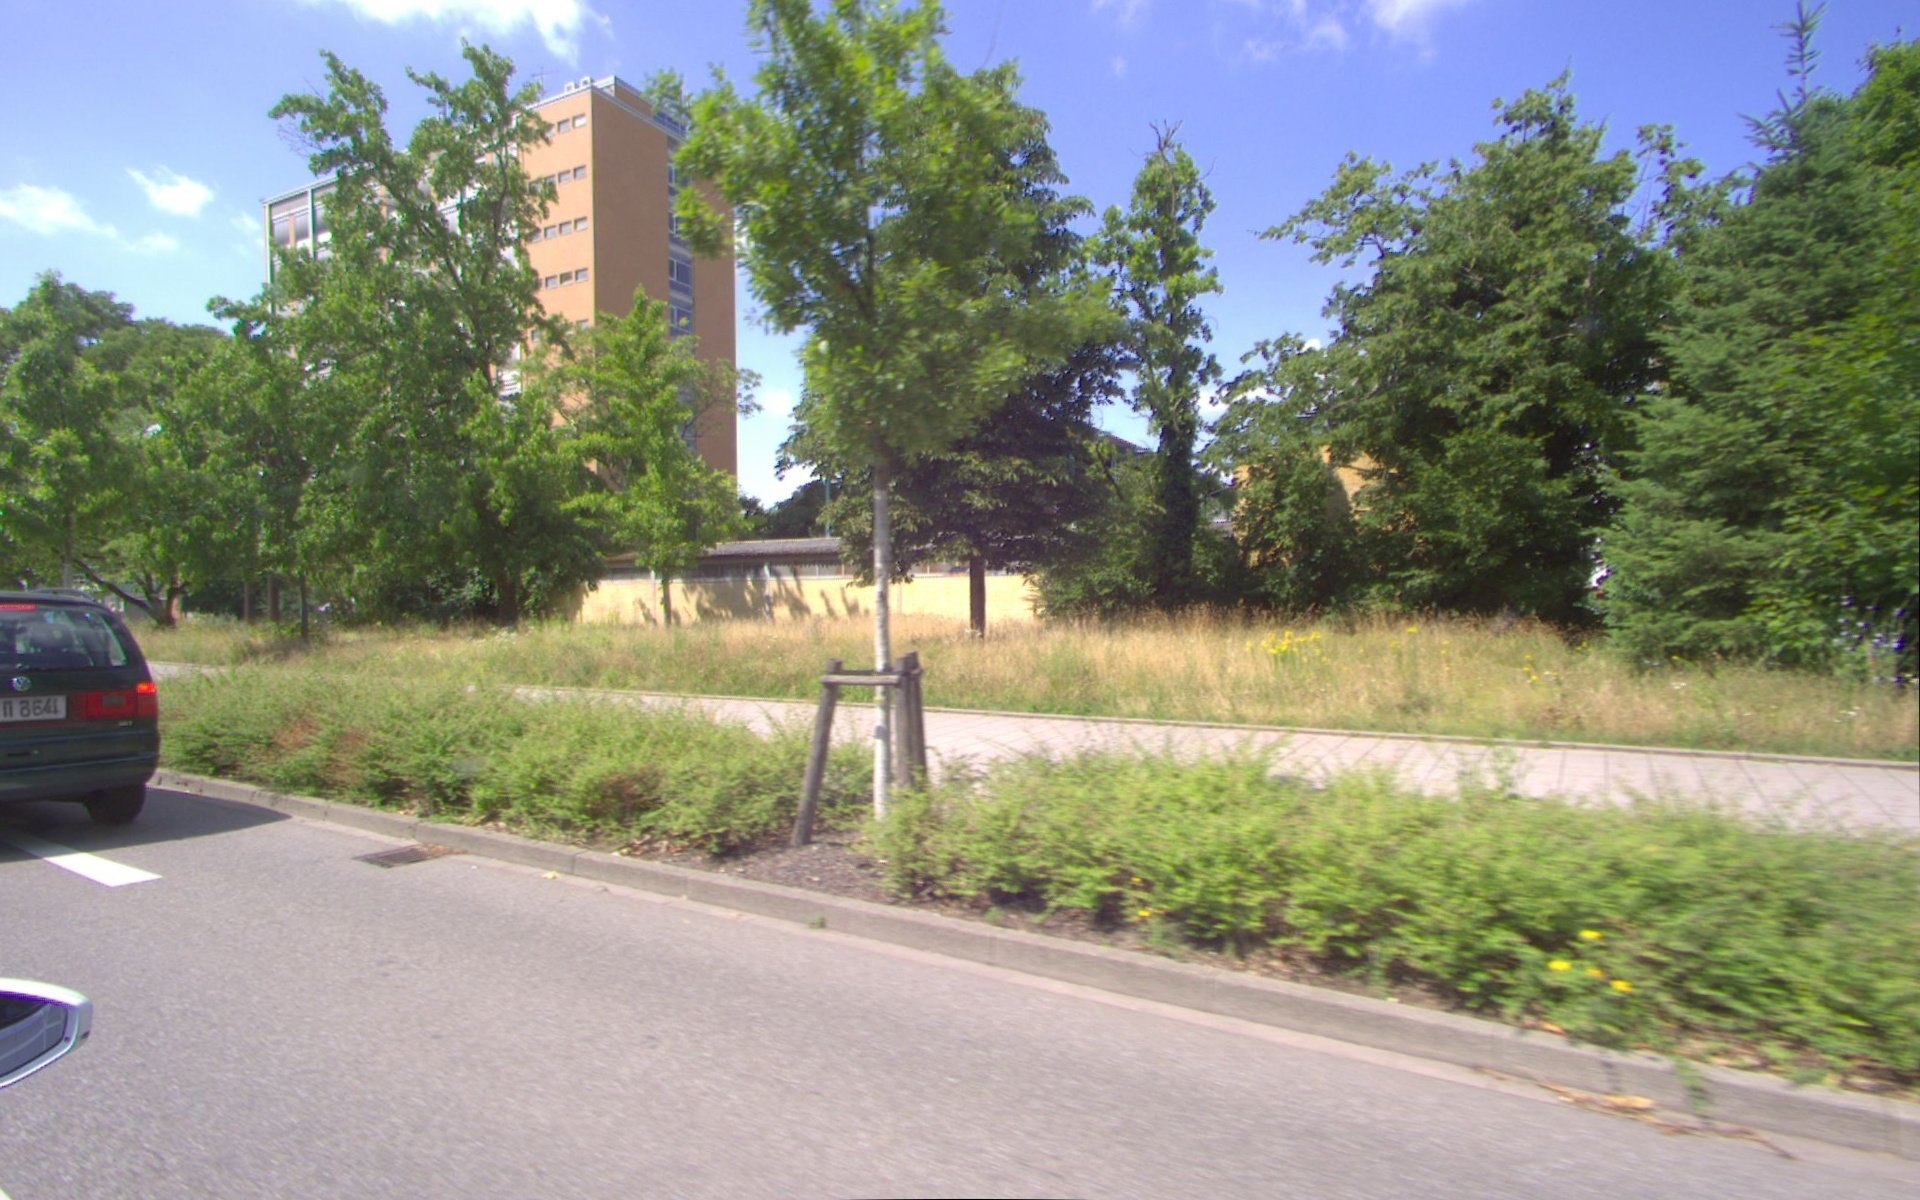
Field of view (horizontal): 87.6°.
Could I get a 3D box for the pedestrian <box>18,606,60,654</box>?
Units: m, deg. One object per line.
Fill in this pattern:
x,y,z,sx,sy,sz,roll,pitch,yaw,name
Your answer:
-30.702,0.993,33.372,0.823,1.559,0.843,0,1,32,pedestrian

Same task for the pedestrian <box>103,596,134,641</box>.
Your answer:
-39.462,0.856,46.956,0.832,2.085,0.740,0,1,16,pedestrian

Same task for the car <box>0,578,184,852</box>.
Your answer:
-7.944,0.749,7.674,4.325,1.757,1.809,0,-1,32,car
